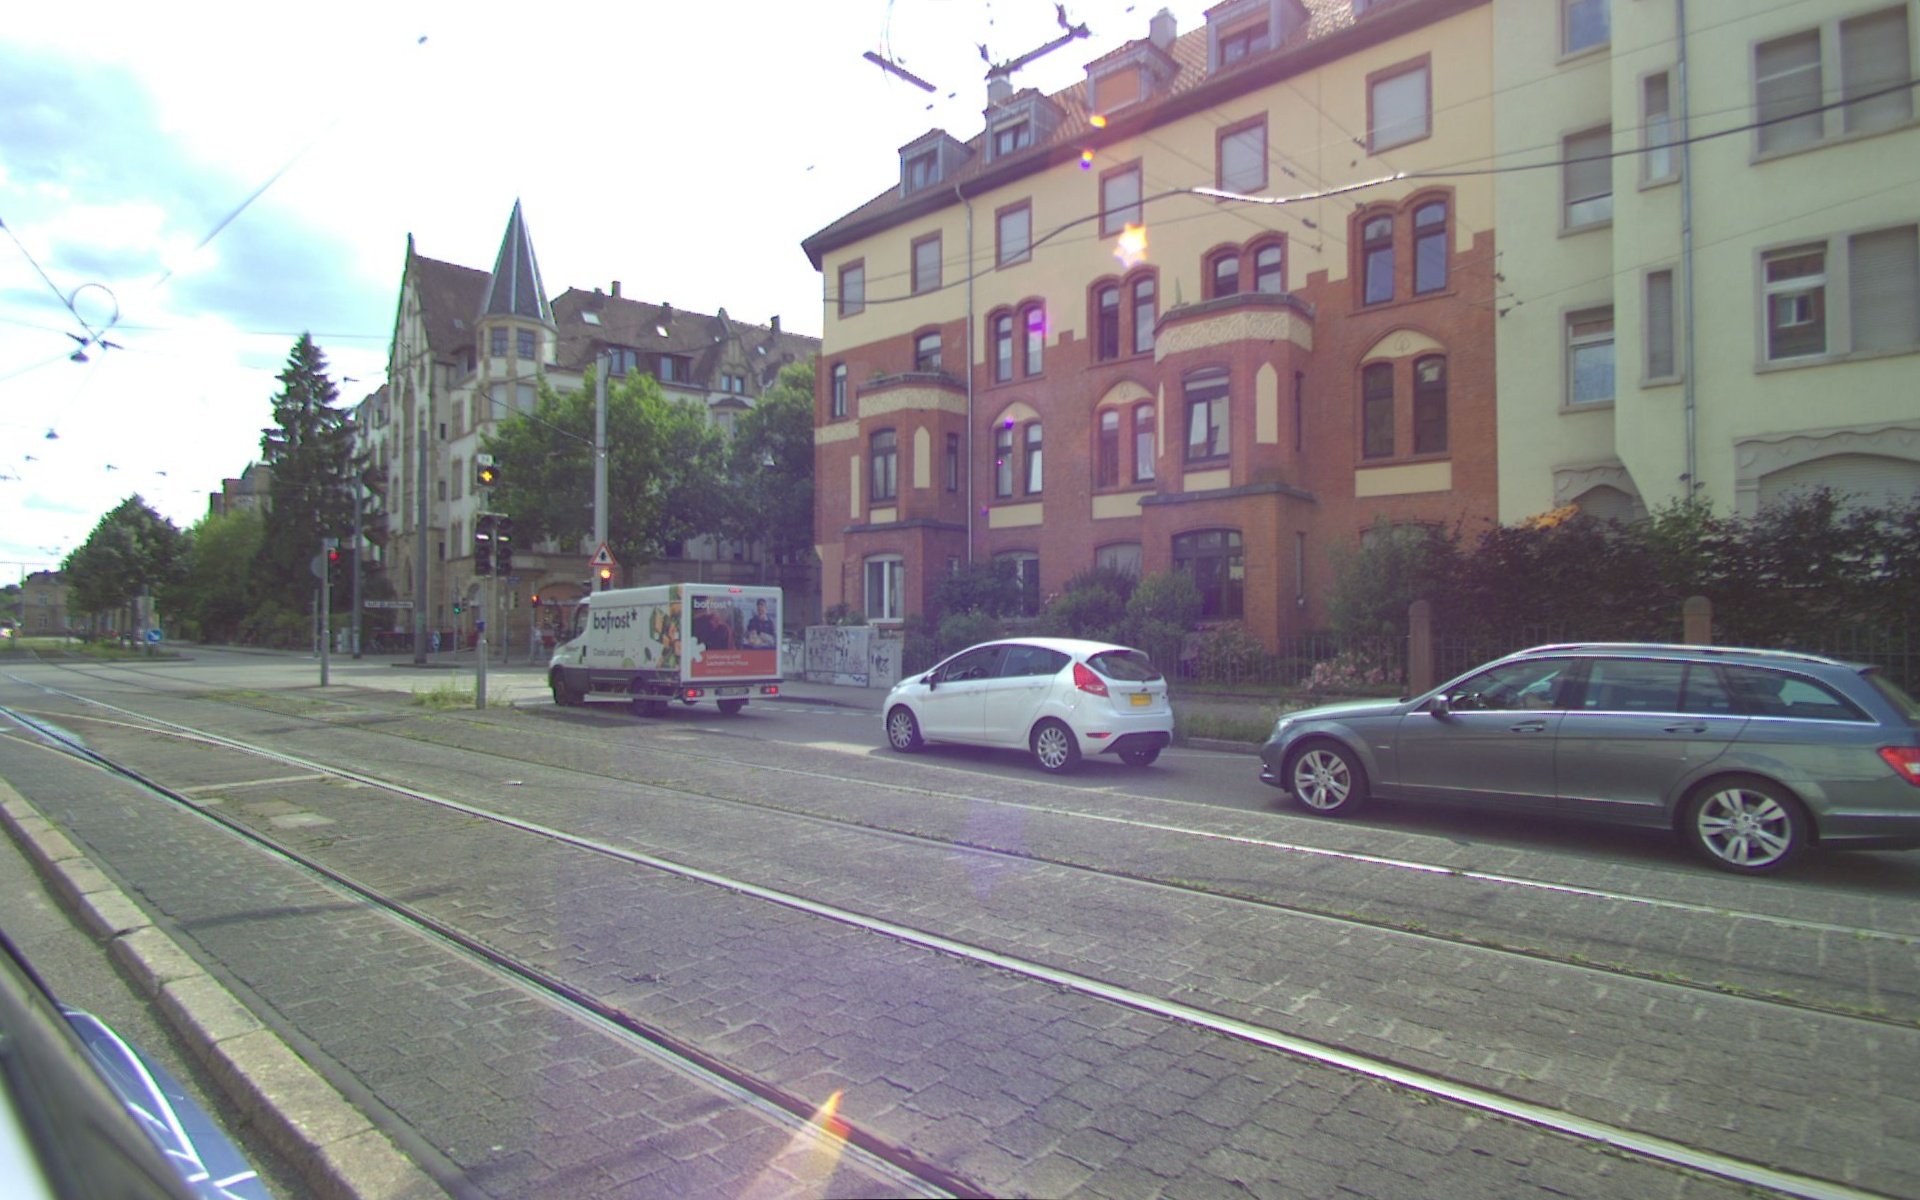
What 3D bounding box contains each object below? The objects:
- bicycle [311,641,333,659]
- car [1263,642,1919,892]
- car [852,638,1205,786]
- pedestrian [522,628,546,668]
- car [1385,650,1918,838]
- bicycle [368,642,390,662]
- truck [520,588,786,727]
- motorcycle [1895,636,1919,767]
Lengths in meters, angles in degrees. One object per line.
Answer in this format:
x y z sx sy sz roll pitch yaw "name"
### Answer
-36.785 2.859 58.337 0.616 0.979 2.337 2 -3 -44 "bicycle"
4.797 1.056 7.660 4.513 1.366 1.735 -1 -4 44 "car"
0.676 1.209 12.160 1.734 1.425 4.137 4 -4 -43 "car"
-18.760 2.101 44.597 0.919 1.754 0.772 1 -2 -21 "pedestrian"
6.446 1.194 9.740 3.996 1.366 1.735 -2 -3 44 "car"
-30.524 2.728 53.126 0.583 0.979 1.630 2 -1 -44 "bicycle"
-6.119 1.051 19.465 2.159 2.231 6.618 3 -4 -43 "truck"
10.346 0.962 9.411 2.290 1.252 0.892 -2 -2 37 "motorcycle"
